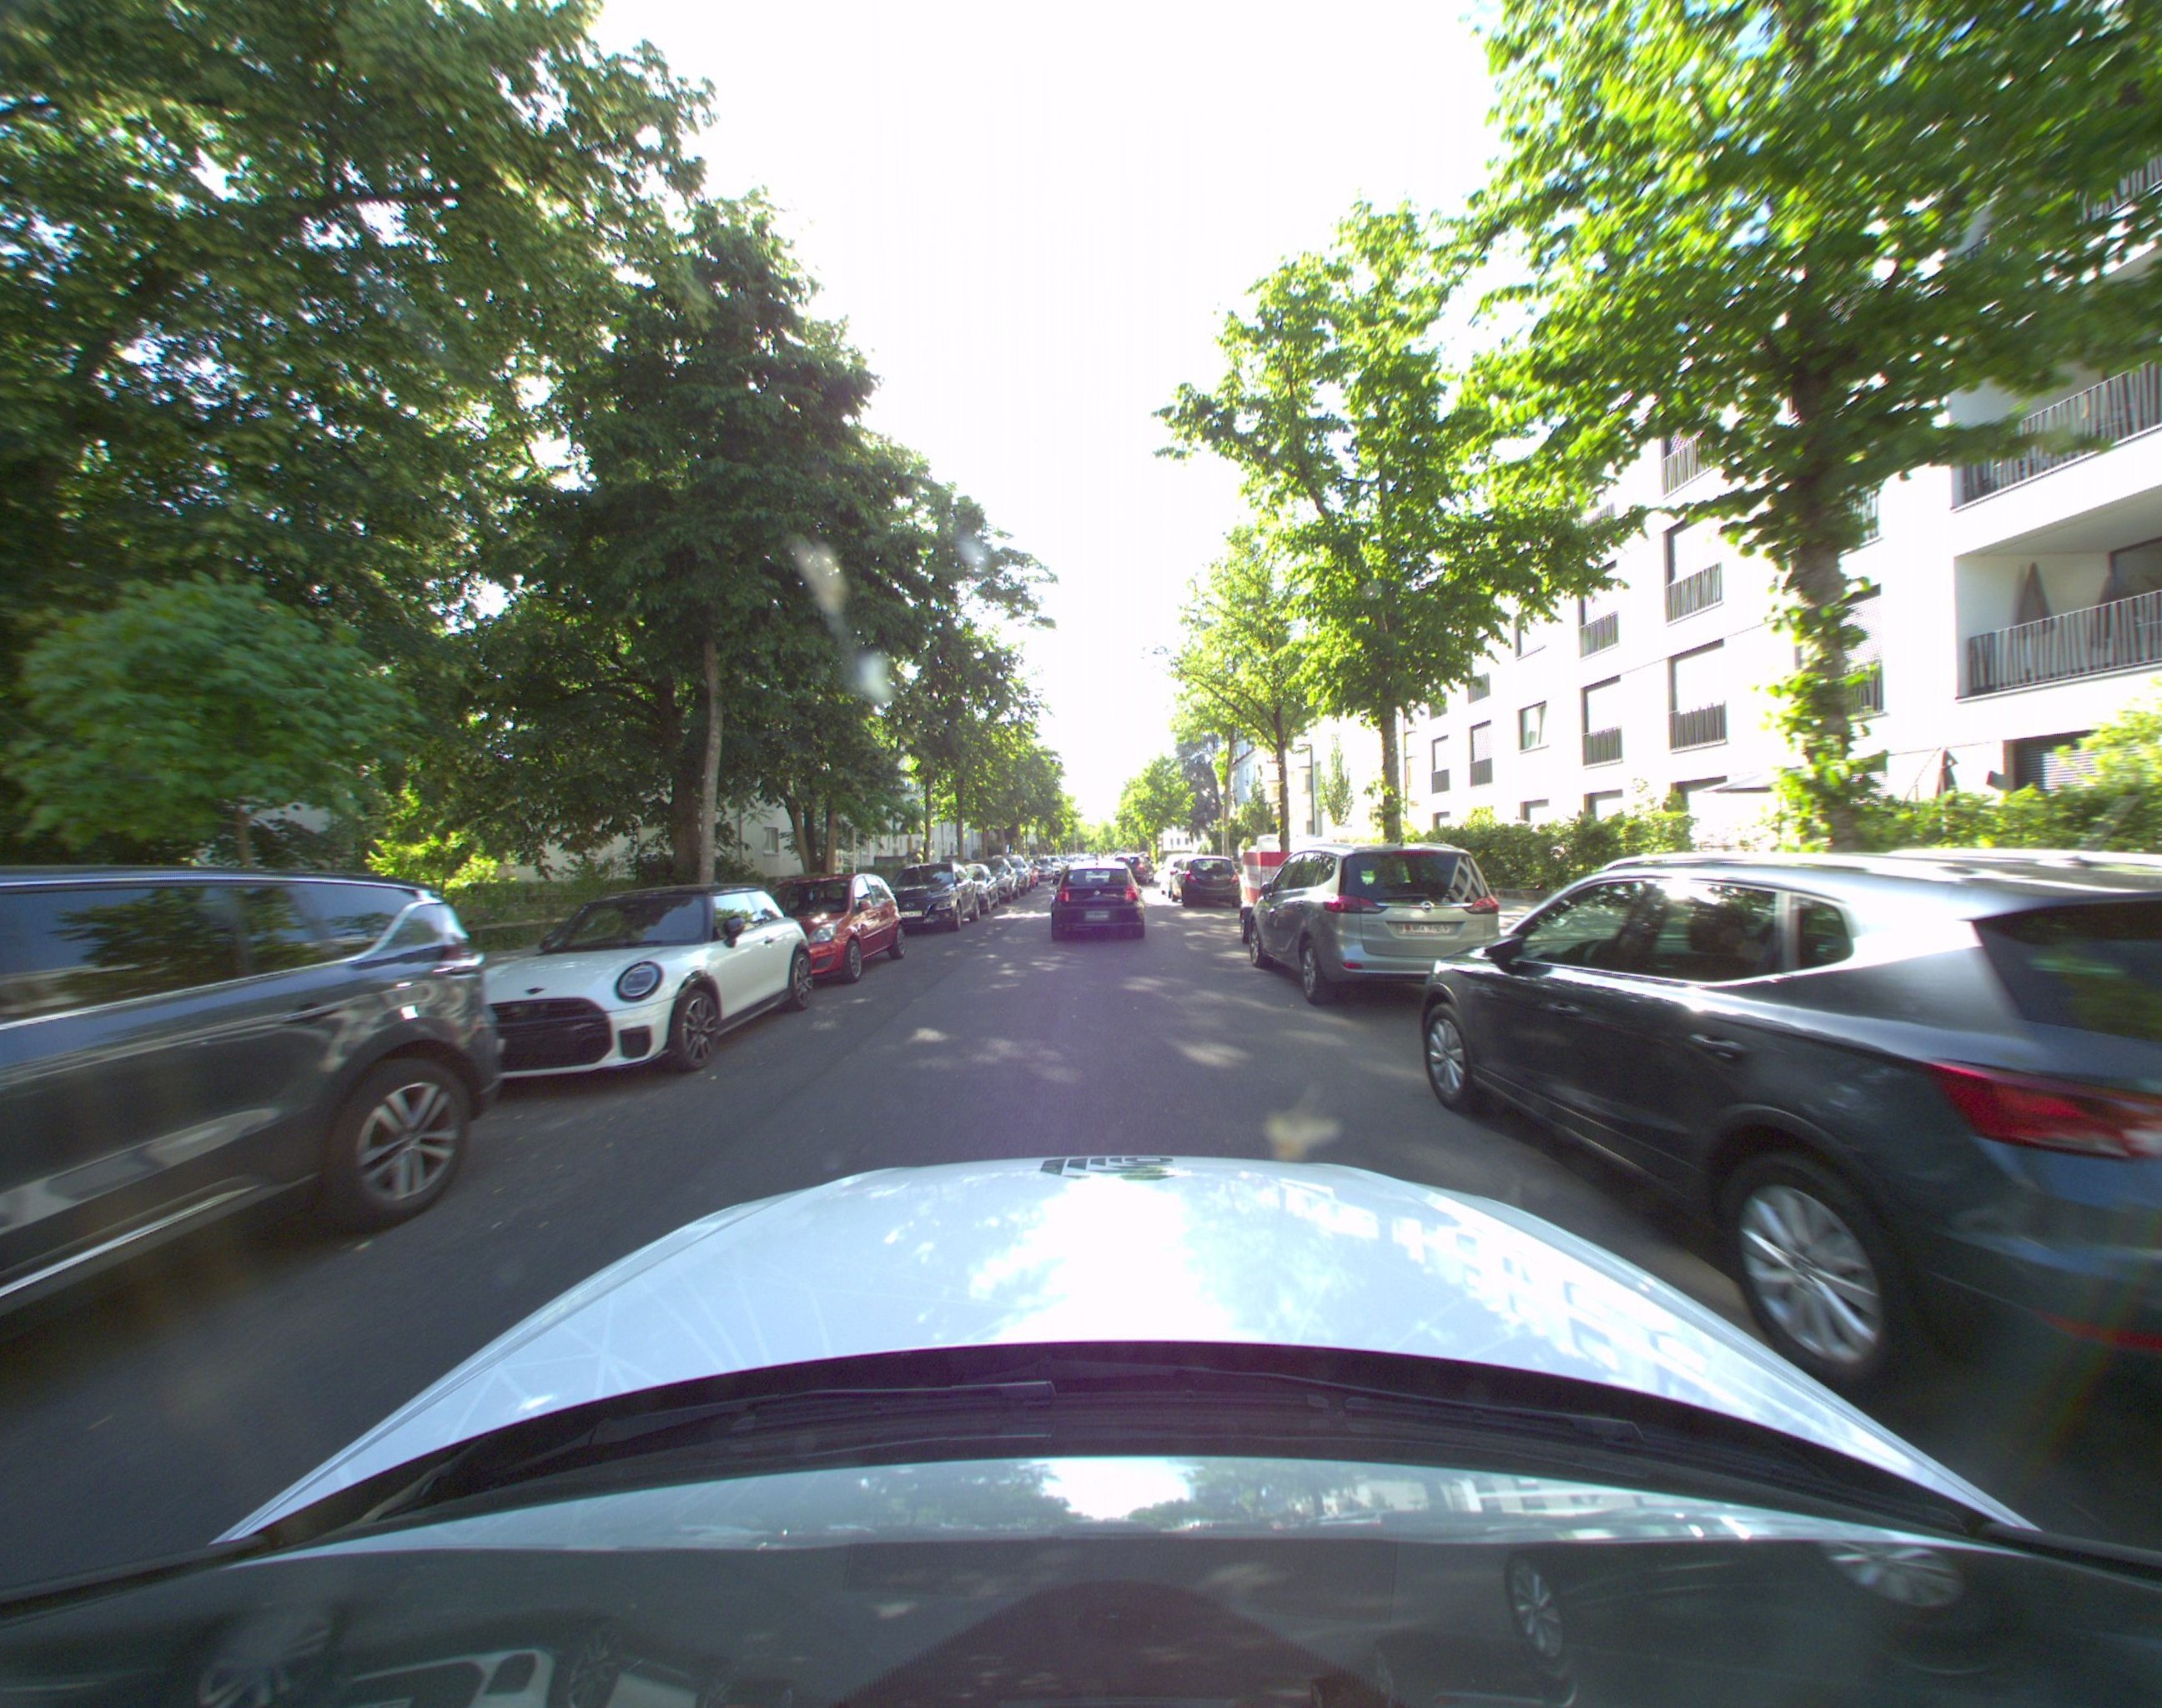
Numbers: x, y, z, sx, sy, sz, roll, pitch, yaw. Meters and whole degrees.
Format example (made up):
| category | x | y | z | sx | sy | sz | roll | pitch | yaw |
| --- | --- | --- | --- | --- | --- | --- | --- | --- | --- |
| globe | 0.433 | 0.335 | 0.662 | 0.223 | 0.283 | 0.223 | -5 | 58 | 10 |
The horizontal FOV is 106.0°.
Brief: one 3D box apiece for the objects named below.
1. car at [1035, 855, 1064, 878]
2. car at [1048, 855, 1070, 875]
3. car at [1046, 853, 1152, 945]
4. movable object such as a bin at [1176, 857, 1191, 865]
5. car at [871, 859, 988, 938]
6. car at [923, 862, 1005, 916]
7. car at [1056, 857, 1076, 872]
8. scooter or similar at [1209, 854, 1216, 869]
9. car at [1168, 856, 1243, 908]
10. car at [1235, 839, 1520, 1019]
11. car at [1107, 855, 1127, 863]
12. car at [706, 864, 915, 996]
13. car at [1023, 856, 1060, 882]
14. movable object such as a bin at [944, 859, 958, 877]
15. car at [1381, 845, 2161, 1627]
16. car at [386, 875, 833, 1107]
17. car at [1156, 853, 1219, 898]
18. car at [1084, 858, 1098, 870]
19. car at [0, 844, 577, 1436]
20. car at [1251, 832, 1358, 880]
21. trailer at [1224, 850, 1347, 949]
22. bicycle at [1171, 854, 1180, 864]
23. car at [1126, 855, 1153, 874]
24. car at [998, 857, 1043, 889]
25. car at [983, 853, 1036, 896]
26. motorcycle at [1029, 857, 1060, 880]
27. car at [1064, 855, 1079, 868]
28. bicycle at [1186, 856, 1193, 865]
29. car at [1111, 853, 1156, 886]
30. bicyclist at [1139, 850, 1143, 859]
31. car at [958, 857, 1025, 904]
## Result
| category | x | y | z | sx | sy | sz | roll | pitch | yaw |
| --- | --- | --- | --- | --- | --- | --- | --- | --- | --- |
| car | -2.324 | 0.900 | 60.796 | 2.058 | 1.524 | 4.718 | -2 | 0 | -2 |
| car | -1.908 | 0.938 | 72.544 | 1.723 | 1.618 | 4.366 | -5 | 0 | 0 |
| car | 0.338 | 0.779 | 16.155 | 1.776 | 1.523 | 4.000 | -2 | 0 | 1 |
| movable object such as a bin | 11.340 | 0.784 | 90.347 | 1.211 | 0.905 | 1.673 | -2 | 0 | 22 |
| car | -3.447 | 0.948 | 19.358 | 1.699 | 1.577 | 4.484 | -2 | 0 | 2 |
| car | -3.410 | 0.980 | 24.572 | 1.779 | 1.352 | 4.481 | -2 | 0 | 0 |
| car | -1.573 | 1.096 | 84.908 | 1.773 | 1.379 | 4.264 | -4 | 0 | 2 |
| scooter or similar | 10.690 | 0.591 | 66.327 | 0.398 | 1.185 | 1.211 | -2 | 0 | 16 |
| car | 3.715 | 0.781 | 24.994 | 1.665 | 1.450 | 4.178 | 1 | 0 | 0 |
| car | 3.198 | 0.697 | 9.925 | 1.786 | 1.643 | 4.819 | 1 | 0 | 1 |
| car | 7.822 | 1.127 | 177.022 | 3.978 | 1.587 | 1.725 | -2 | 0 | -3 |
| car | -3.730 | 0.958 | 12.017 | 1.649 | 1.505 | 4.068 | -2 | 0 | 0 |
| car | -2.527 | 0.943 | 52.920 | 2.035 | 1.524 | 4.607 | -2 | 0 | 1 |
| movable object such as a bin | -9.971 | 1.048 | 62.583 | 0.928 | 1.324 | 1.377 | -2 | 0 | -4 |
| car | 2.973 | 0.738 | 3.749 | 1.711 | 1.516 | 4.347 | -1 | 0 | 2 |
| car | -3.790 | 0.970 | 7.545 | 1.649 | 1.373 | 4.188 | -2 | 0 | 0 |
| car | 3.790 | 0.737 | 29.565 | 1.727 | 1.487 | 4.008 | -1 | 0 | -1 |
| car | 1.324 | 1.353 | 108.341 | 1.803 | 1.445 | 4.366 | -3 | 0 | 0 |
| car | -3.970 | 0.836 | 2.268 | 1.835 | 1.656 | 5.088 | -2 | 0 | 1 |
| car | 11.647 | 0.073 | 42.498 | 5.061 | 2.306 | 2.218 | -2 | 0 | -23 |
| trailer | 3.563 | 0.732 | 14.687 | 1.568 | 1.579 | 3.195 | 1 | 0 | 3 |
| bicycle | 11.899 | 0.598 | 102.714 | 0.836 | 1.257 | 2.229 | -1 | 0 | -2 |
| car | 4.678 | 0.791 | 65.278 | 1.815 | 1.469 | 4.908 | 0 | 0 | 0 |
| car | -3.034 | 0.937 | 41.498 | 1.849 | 1.469 | 4.183 | -2 | 0 | 1 |
| car | -3.032 | 0.827 | 35.238 | 1.762 | 1.688 | 4.814 | -2 | 0 | 0 |
| motorcycle | -2.566 | 1.000 | 56.820 | 0.994 | 1.503 | 2.208 | -2 | 0 | -39 |
| car | -1.177 | 0.935 | 105.563 | 1.805 | 1.596 | 4.233 | -2 | 0 | 1 |
| bicycle | 11.569 | 0.704 | 86.835 | 0.579 | 0.975 | 1.905 | -2 | 0 | 3 |
| car | 2.511 | 0.755 | 40.289 | 1.889 | 1.524 | 4.966 | -1 | -1 | 0 |
| bicyclist | 10.402 | 0.125 | 140.994 | 0.675 | 1.609 | 0.921 | -2 | -1 | -2 |
| car | -3.212 | 0.914 | 30.001 | 1.762 | 1.531 | 4.422 | -2 | 0 | 2 |
